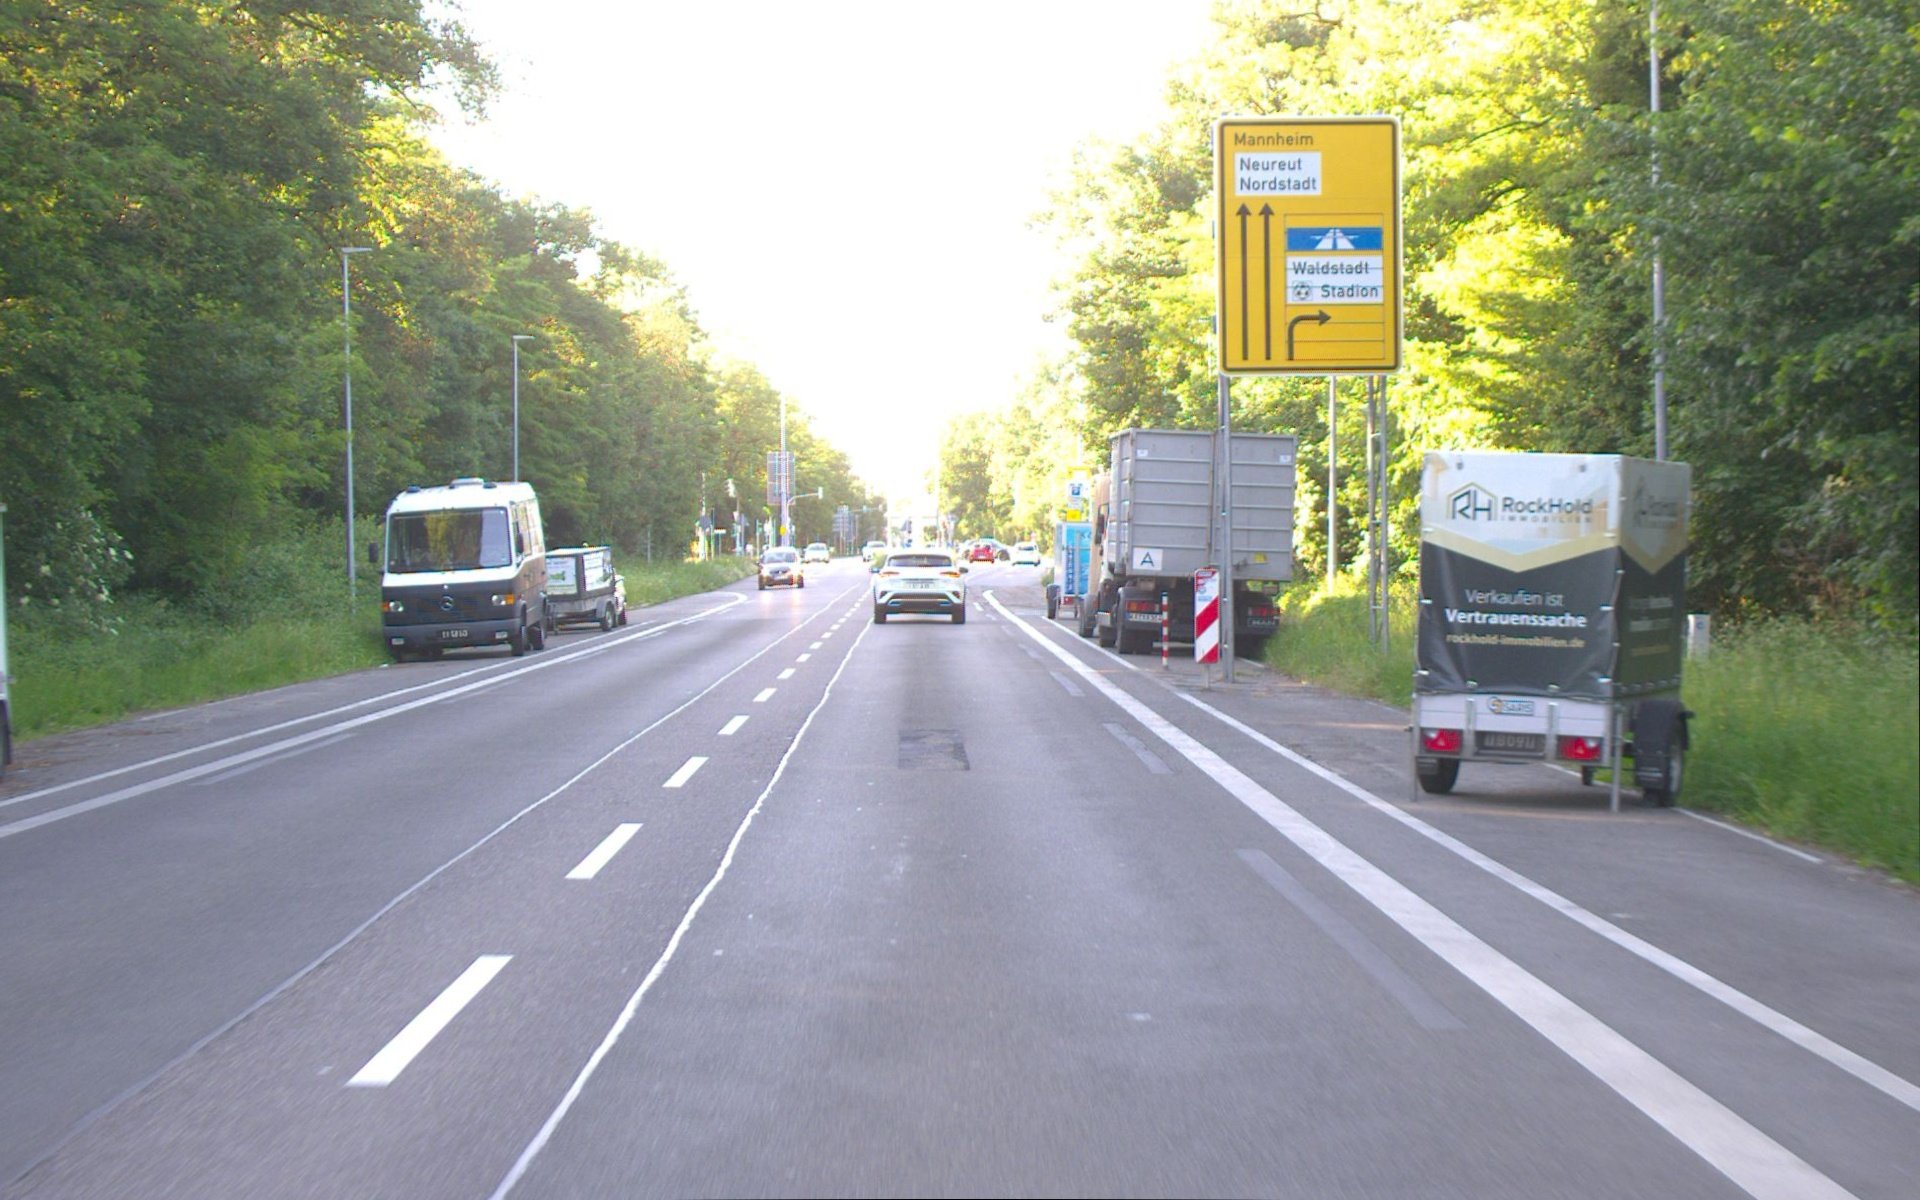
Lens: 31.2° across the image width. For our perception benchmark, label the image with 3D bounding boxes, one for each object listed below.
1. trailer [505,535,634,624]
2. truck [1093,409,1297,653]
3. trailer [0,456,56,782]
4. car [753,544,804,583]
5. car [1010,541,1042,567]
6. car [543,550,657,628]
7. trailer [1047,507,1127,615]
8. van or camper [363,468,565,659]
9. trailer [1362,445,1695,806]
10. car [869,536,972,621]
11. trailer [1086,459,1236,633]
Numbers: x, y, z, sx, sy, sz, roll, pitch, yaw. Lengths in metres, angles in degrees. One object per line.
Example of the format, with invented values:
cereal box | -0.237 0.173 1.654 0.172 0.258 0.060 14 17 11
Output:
trailer | -7.670 -0.413 67.811 1.471 1.654 3.364 -2 0 12
truck | 3.401 -1.005 51.228 2.505 3.355 7.107 1 1 0
trailer | -7.785 0.162 23.690 2.075 2.285 3.486 -1 1 1
car | -6.745 -1.371 128.315 1.678 1.411 4.000 -1 1 0
car | 4.349 -3.043 227.119 1.993 1.612 4.000 1 1 0
car | -7.499 -0.248 71.921 1.867 1.458 4.133 -4 1 0
trailer | 2.729 -0.862 74.595 1.500 2.228 4.550 1 1 0
van or camper | -7.771 -0.603 54.410 2.302 2.758 5.557 -3 1 0
trailer | 3.586 0.122 21.456 1.616 2.105 2.394 1 1 20
car | -0.788 -0.460 69.032 1.993 1.634 4.000 -1 1 -1
trailer | 3.417 -0.932 59.520 2.272 2.835 5.207 1 1 0
